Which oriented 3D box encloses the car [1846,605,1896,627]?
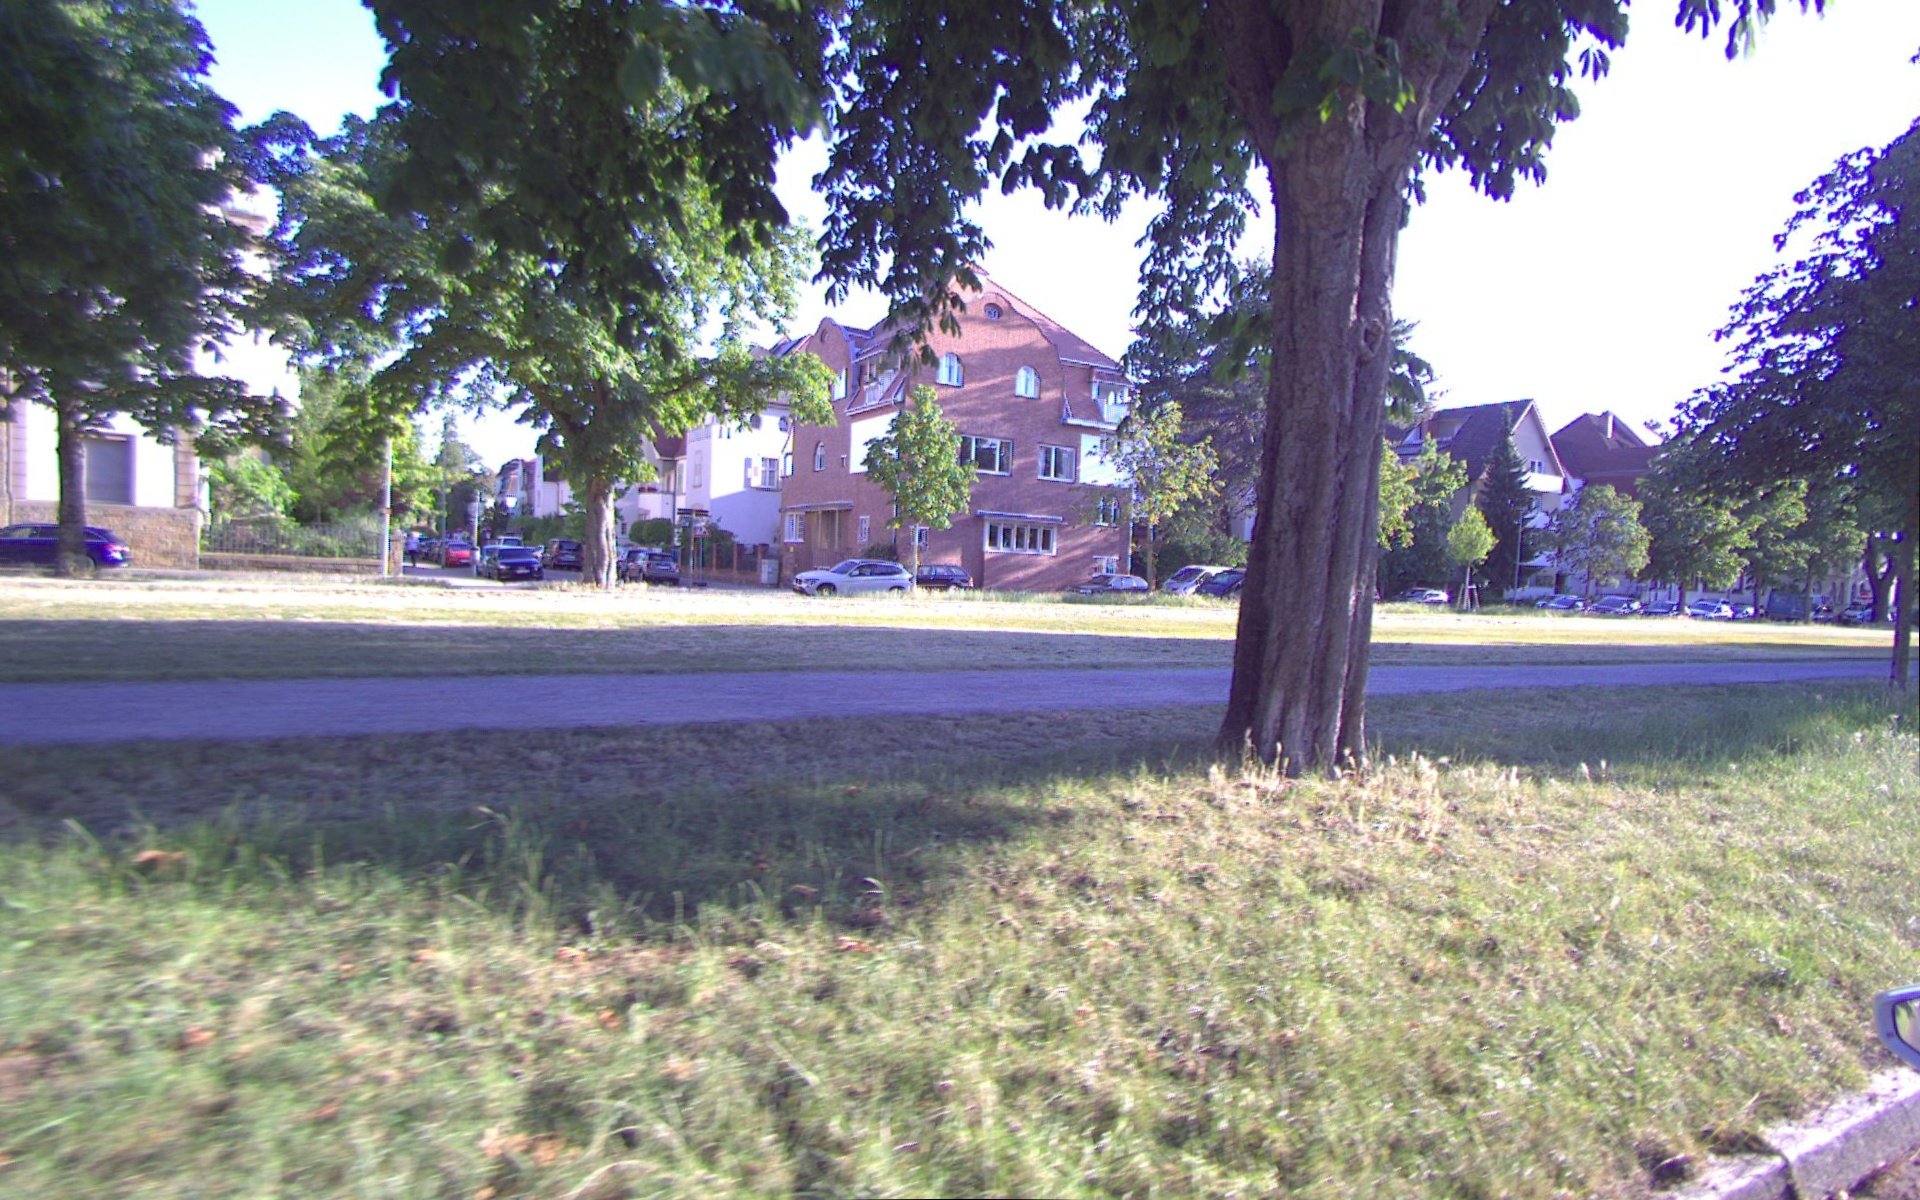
[{"bbox_3d":[74.594,1.341,82.251,4.263,1.580,1.677,2,2,-29],"label":"car"}]

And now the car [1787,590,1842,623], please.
[{"bbox_3d":[76.910,0.562,90.392,5.125,2.708,1.984,2,2,-30],"label":"car"}]

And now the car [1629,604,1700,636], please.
[{"bbox_3d":[45.489,1.284,64.855,4.204,1.744,1.984,3,3,-29],"label":"car"}]

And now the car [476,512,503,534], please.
[{"bbox_3d":[-50.274,-8.222,107.271,1.980,2.208,3.960,2,3,-35],"label":"car"}]

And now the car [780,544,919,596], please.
[{"bbox_3d":[-3.935,-1.059,35.920,4.596,1.661,1.810,1,3,-31],"label":"car"}]

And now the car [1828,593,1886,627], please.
[{"bbox_3d":[85.476,0.965,95.682,5.750,2.961,2.426,3,0,-30],"label":"car"}]

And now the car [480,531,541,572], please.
[{"bbox_3d":[-19.231,-2.127,42.860,1.975,1.630,4.833,-3,5,-28],"label":"car"}]

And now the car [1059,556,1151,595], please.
[{"bbox_3d":[7.180,-1.212,49.576,4.254,1.645,1.748,2,3,-30],"label":"car"}]

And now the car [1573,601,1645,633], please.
[{"bbox_3d":[40.050,1.047,61.982,3.950,1.706,1.985,3,3,-28],"label":"car"}]

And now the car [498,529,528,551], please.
[{"bbox_3d":[-37.142,-4.994,83.395,1.814,1.595,3.877,2,3,-30],"label":"car"}]

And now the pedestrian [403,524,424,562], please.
[{"bbox_3d":[-27.202,-2.836,49.994,0.688,1.831,0.859,1,4,-44],"label":"pedestrian"}]

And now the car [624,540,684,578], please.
[{"bbox_3d":[-13.960,-1.885,45.721,1.842,1.506,3.969,2,3,-29],"label":"car"}]

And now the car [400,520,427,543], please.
[{"bbox_3d":[-48.180,-6.070,88.534,1.977,1.876,3.966,1,3,-31],"label":"car"}]

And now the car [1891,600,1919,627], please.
[{"bbox_3d":[83.285,1.236,87.661,4.262,2.205,1.677,2,3,-29],"label":"car"}]

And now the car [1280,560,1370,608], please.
[{"bbox_3d":[17.995,-0.786,49.511,3.953,2.041,1.984,2,4,-30],"label":"car"}]

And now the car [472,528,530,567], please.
[{"bbox_3d":[-21.928,-2.524,47.924,2.162,1.629,4.833,2,3,-29],"label":"car"}]

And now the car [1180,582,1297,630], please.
[{"bbox_3d":[12.761,0.272,45.933,5.183,1.967,1.984,2,3,-29],"label":"car"}]

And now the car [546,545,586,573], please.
[{"bbox_3d":[-25.063,-2.619,63.833,1.814,1.595,3.877,2,3,-30],"label":"car"}]

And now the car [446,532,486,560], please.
[{"bbox_3d":[-29.961,-3.305,60.868,1.976,1.506,3.969,2,3,-29],"label":"car"}]

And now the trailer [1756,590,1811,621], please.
[{"bbox_3d":[71.503,0.463,87.197,4.668,2.460,1.984,2,2,-30],"label":"trailer"}]

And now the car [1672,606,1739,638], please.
[{"bbox_3d":[50.133,1.473,67.536,4.204,1.885,1.984,3,3,-29],"label":"car"}]

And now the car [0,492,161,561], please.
[{"bbox_3d":[-26.509,-2.170,29.202,4.956,1.773,1.981,2,3,-34],"label":"car"}]

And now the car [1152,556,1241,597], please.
[{"bbox_3d":[12.258,-1.227,52.012,4.356,1.862,1.808,2,3,-30],"label":"car"}]

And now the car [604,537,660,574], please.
[{"bbox_3d":[-16.167,-2.214,49.431,1.814,1.595,3.877,2,3,-30],"label":"car"}]

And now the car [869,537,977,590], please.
[{"bbox_3d":[-1.583,-1.568,43.483,4.316,2.041,1.748,1,3,-30],"label":"car"}]
